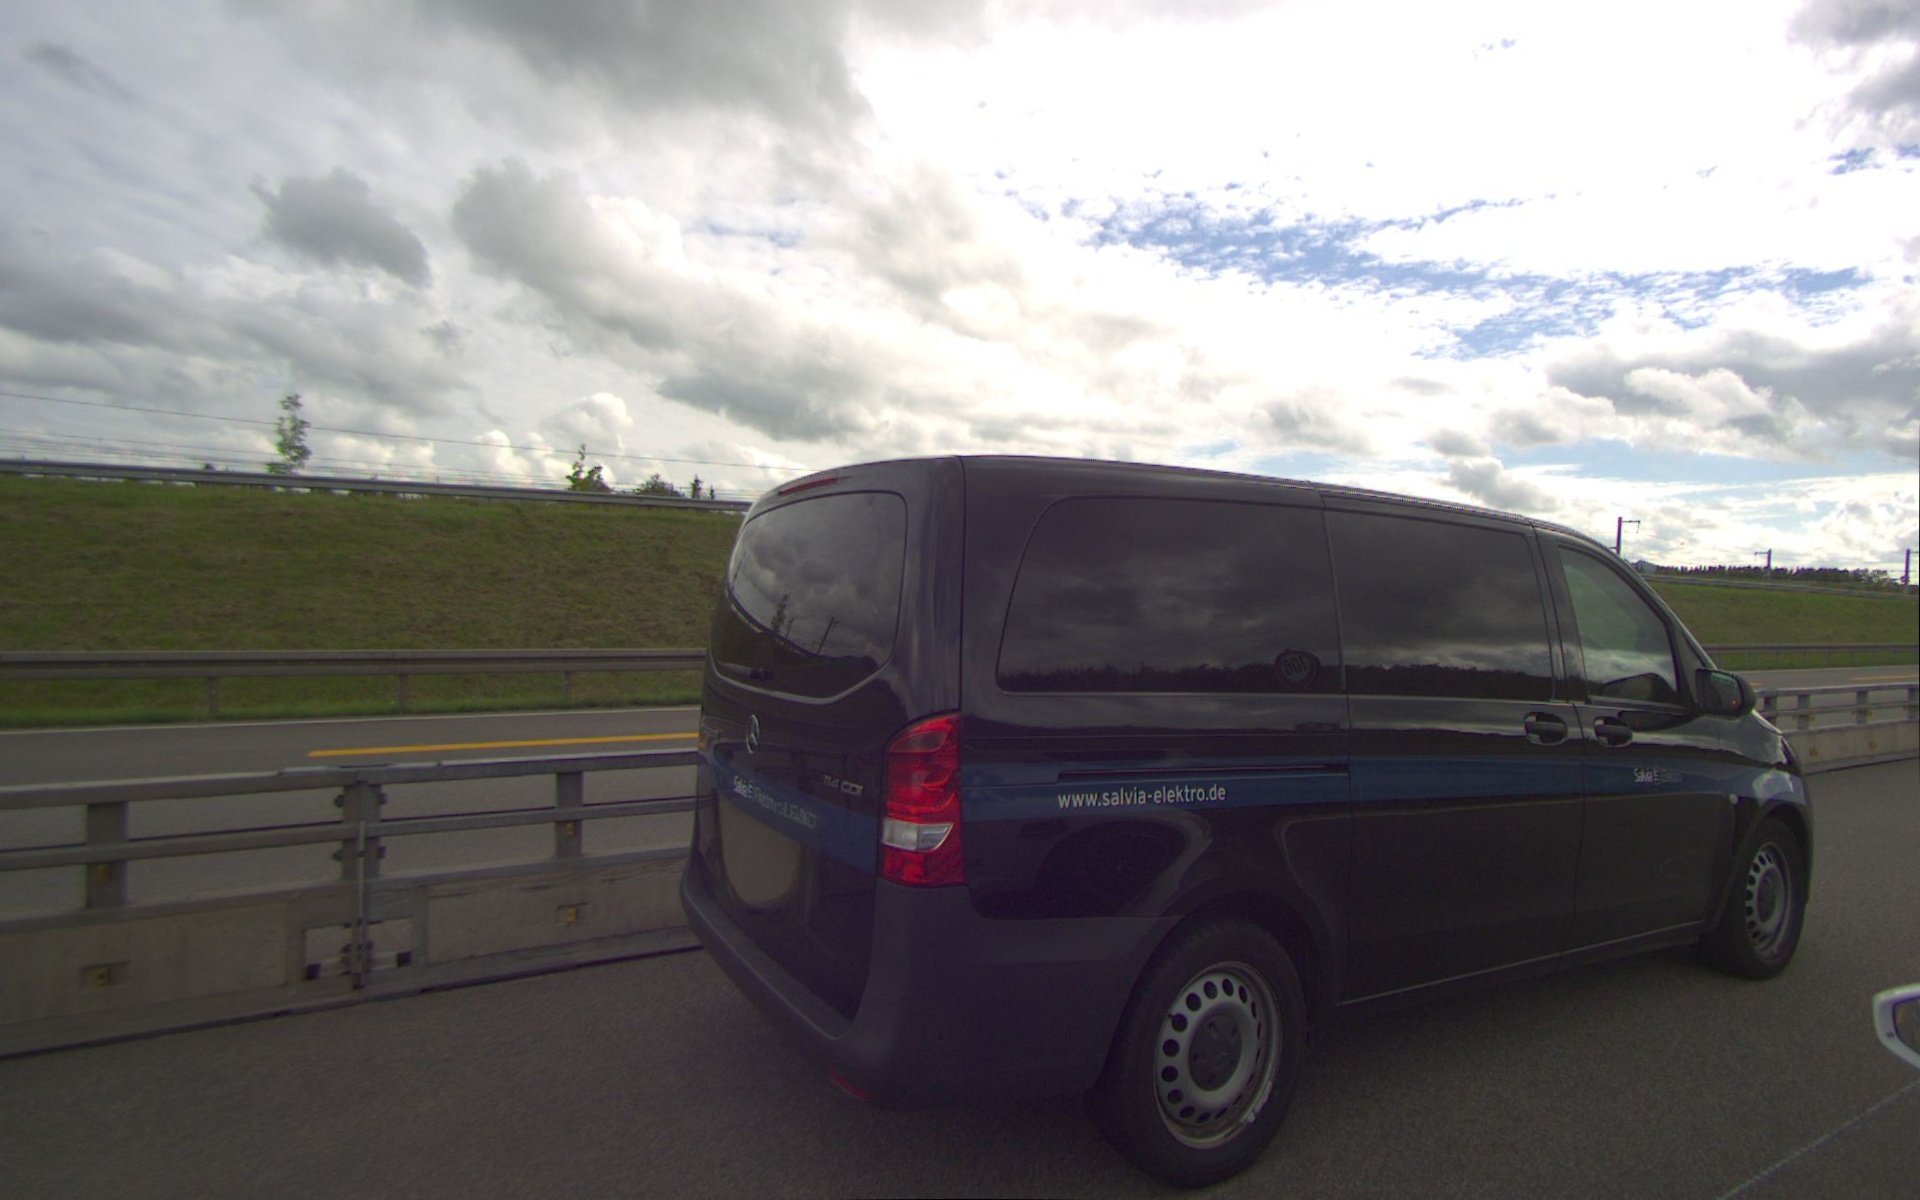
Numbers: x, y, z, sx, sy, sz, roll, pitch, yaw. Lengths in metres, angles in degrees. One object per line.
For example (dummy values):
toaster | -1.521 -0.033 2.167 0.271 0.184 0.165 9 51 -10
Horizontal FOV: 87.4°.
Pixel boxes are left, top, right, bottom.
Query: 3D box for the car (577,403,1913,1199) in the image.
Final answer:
car | 1.533 0.635 4.101 5.544 1.867 1.984 1 -1 -31
